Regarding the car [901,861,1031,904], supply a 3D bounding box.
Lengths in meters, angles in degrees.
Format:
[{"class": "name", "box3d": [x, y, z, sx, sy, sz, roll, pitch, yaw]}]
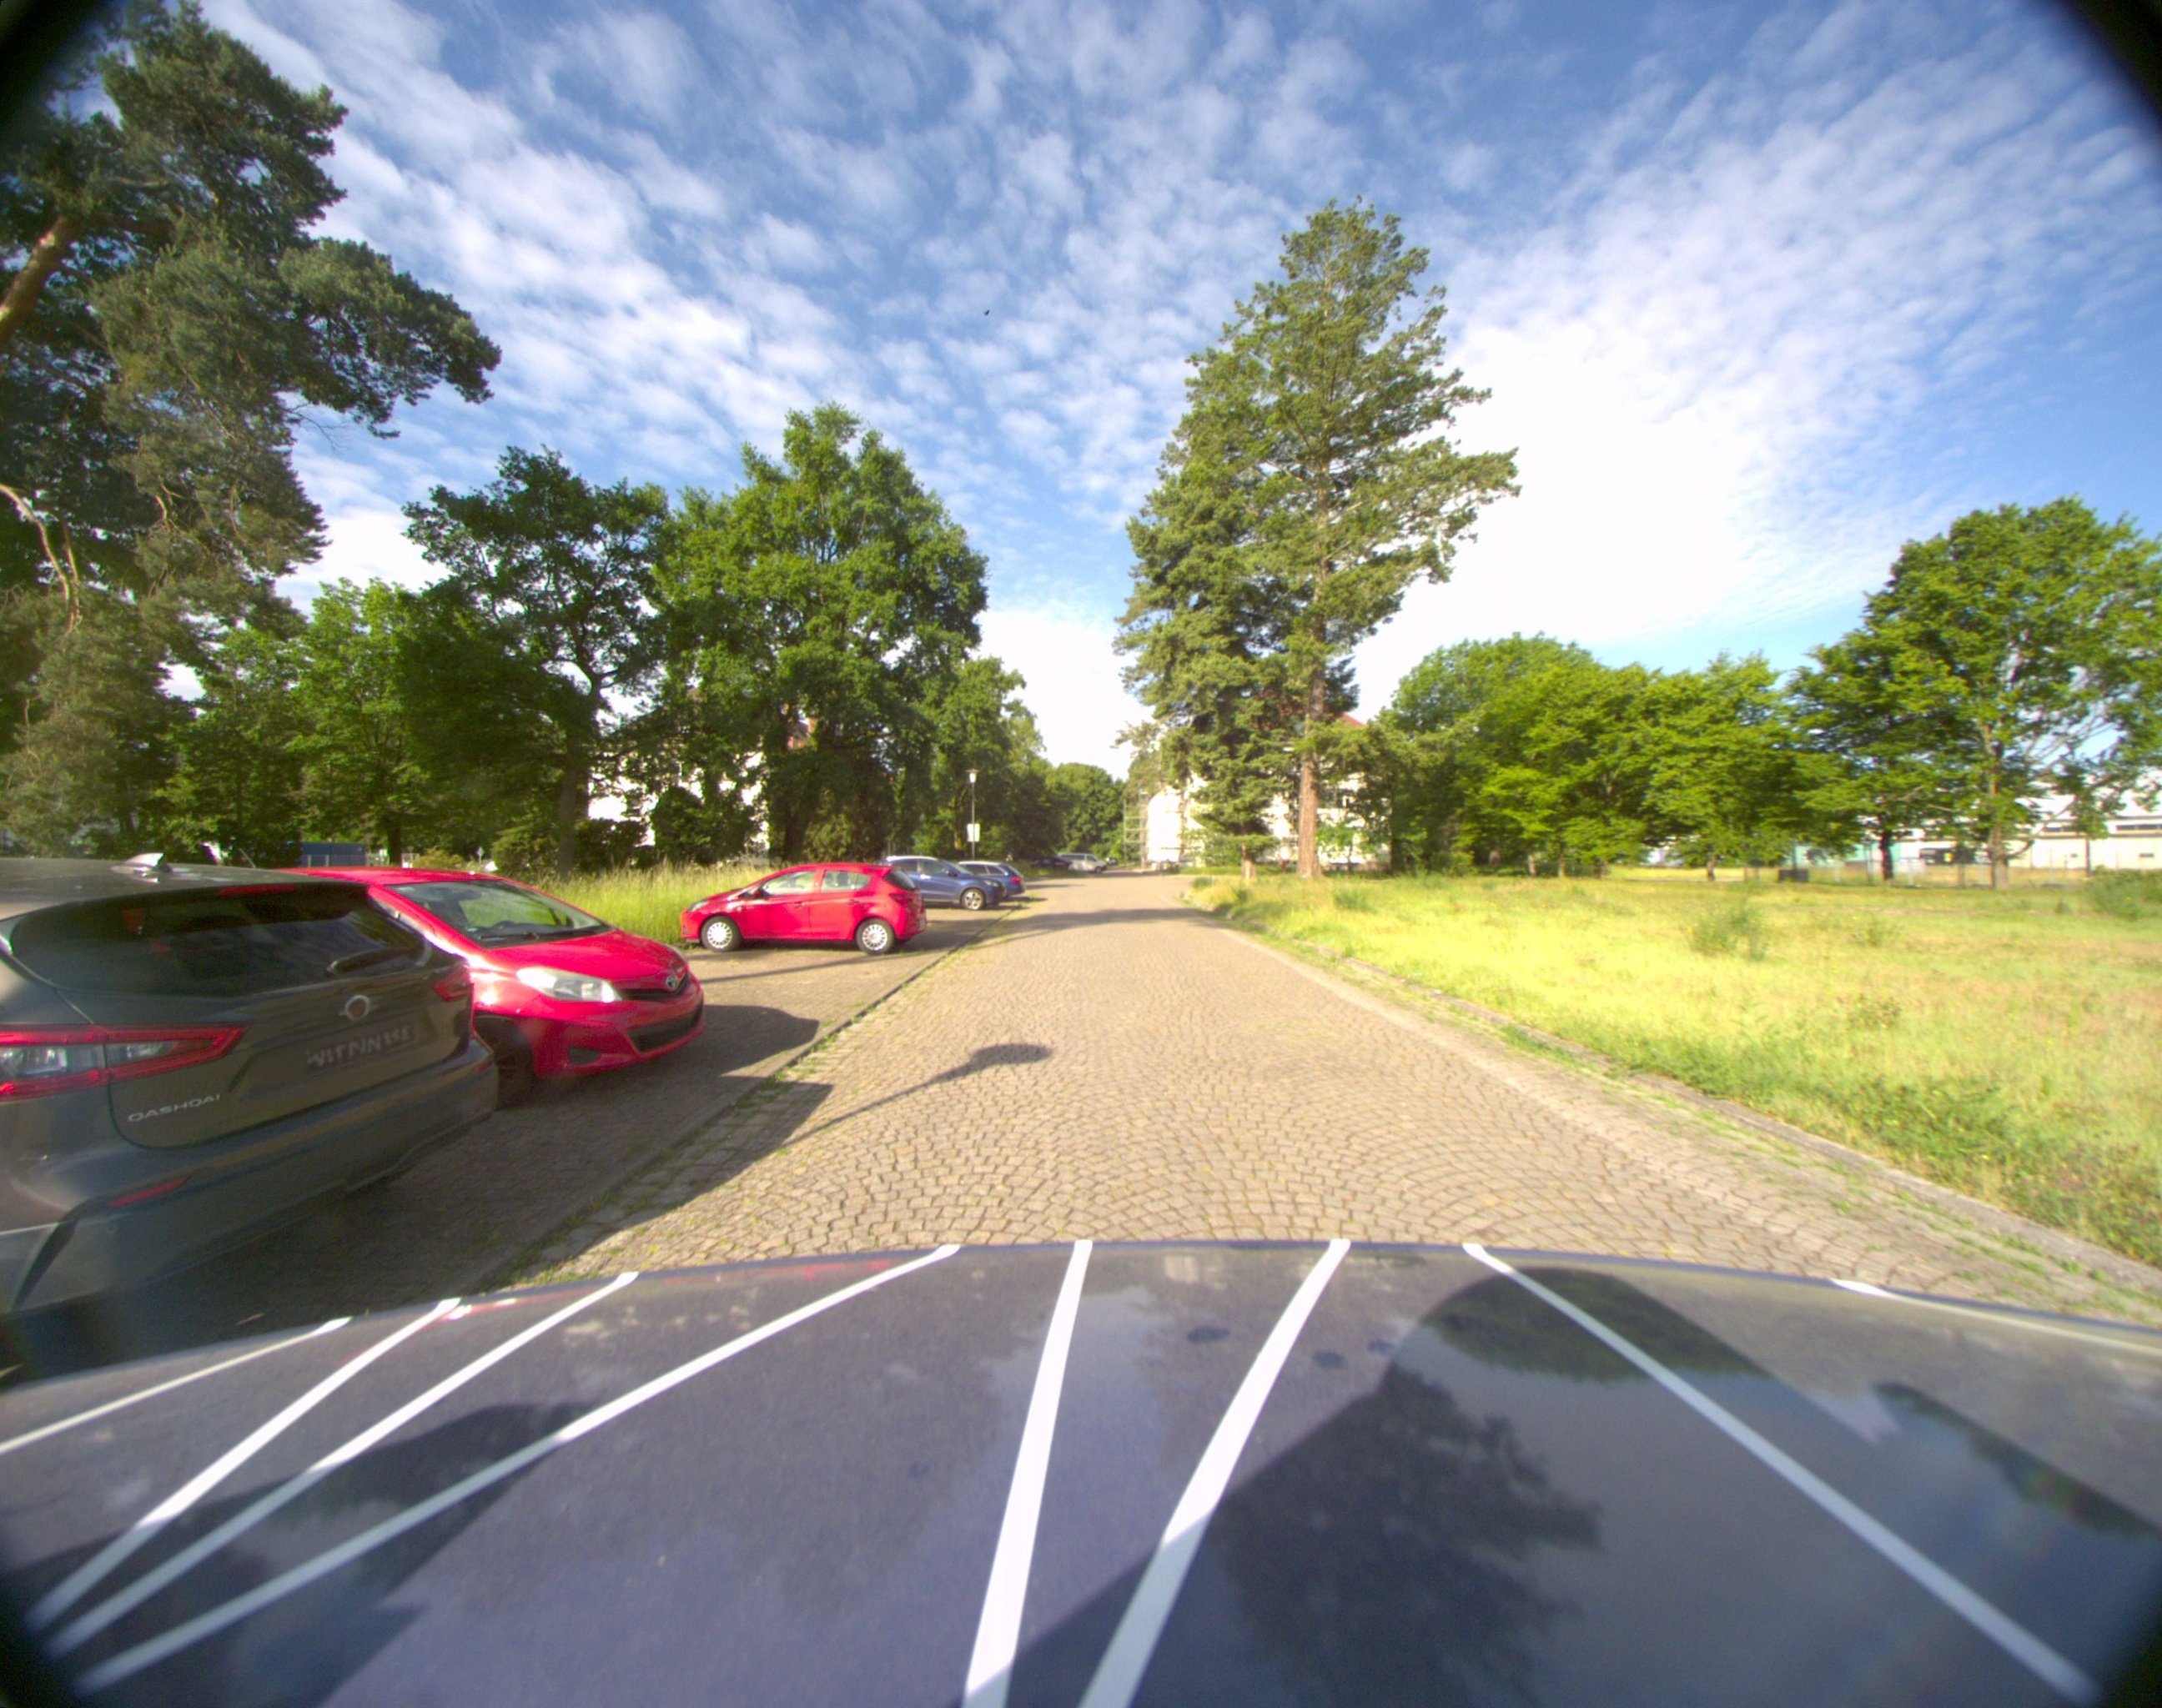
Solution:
[{"class": "car", "box3d": [-4.181, 1.018, 27.991, 4.459, 1.399, 1.714, 1, 0, 3]}]

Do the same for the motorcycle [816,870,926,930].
[{"class": "motorcycle", "box3d": [-4.814, 1.051, 17.516, 2.305, 1.312, 0.726, 1, 0, 0]}]

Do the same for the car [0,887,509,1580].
[{"class": "car", "box3d": [-4.604, 0.961, 2.584, 3.946, 1.612, 1.772, 0, 0, -1]}]

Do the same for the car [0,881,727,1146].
[{"class": "car", "box3d": [-4.781, 0.983, 5.372, 3.772, 1.521, 1.645, 0, 0, 1]}]

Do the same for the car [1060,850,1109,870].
[{"class": "car", "box3d": [0.347, 0.582, 76.728, 4.936, 2.002, 2.000, 0, 0, 1]}]

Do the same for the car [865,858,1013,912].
[{"class": "car", "box3d": [-4.250, 0.916, 23.263, 4.187, 1.581, 1.751, 0, 0, 0]}]

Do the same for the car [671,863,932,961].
[{"class": "car", "box3d": [-4.628, 0.945, 12.977, 3.837, 1.470, 1.645, 1, 0, -1]}]

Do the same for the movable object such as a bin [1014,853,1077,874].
[{"class": "movable object such as a bin", "box3d": [-2.946, 0.785, 63.808, 4.931, 1.749, 2.002, 0, 0, 15]}]
